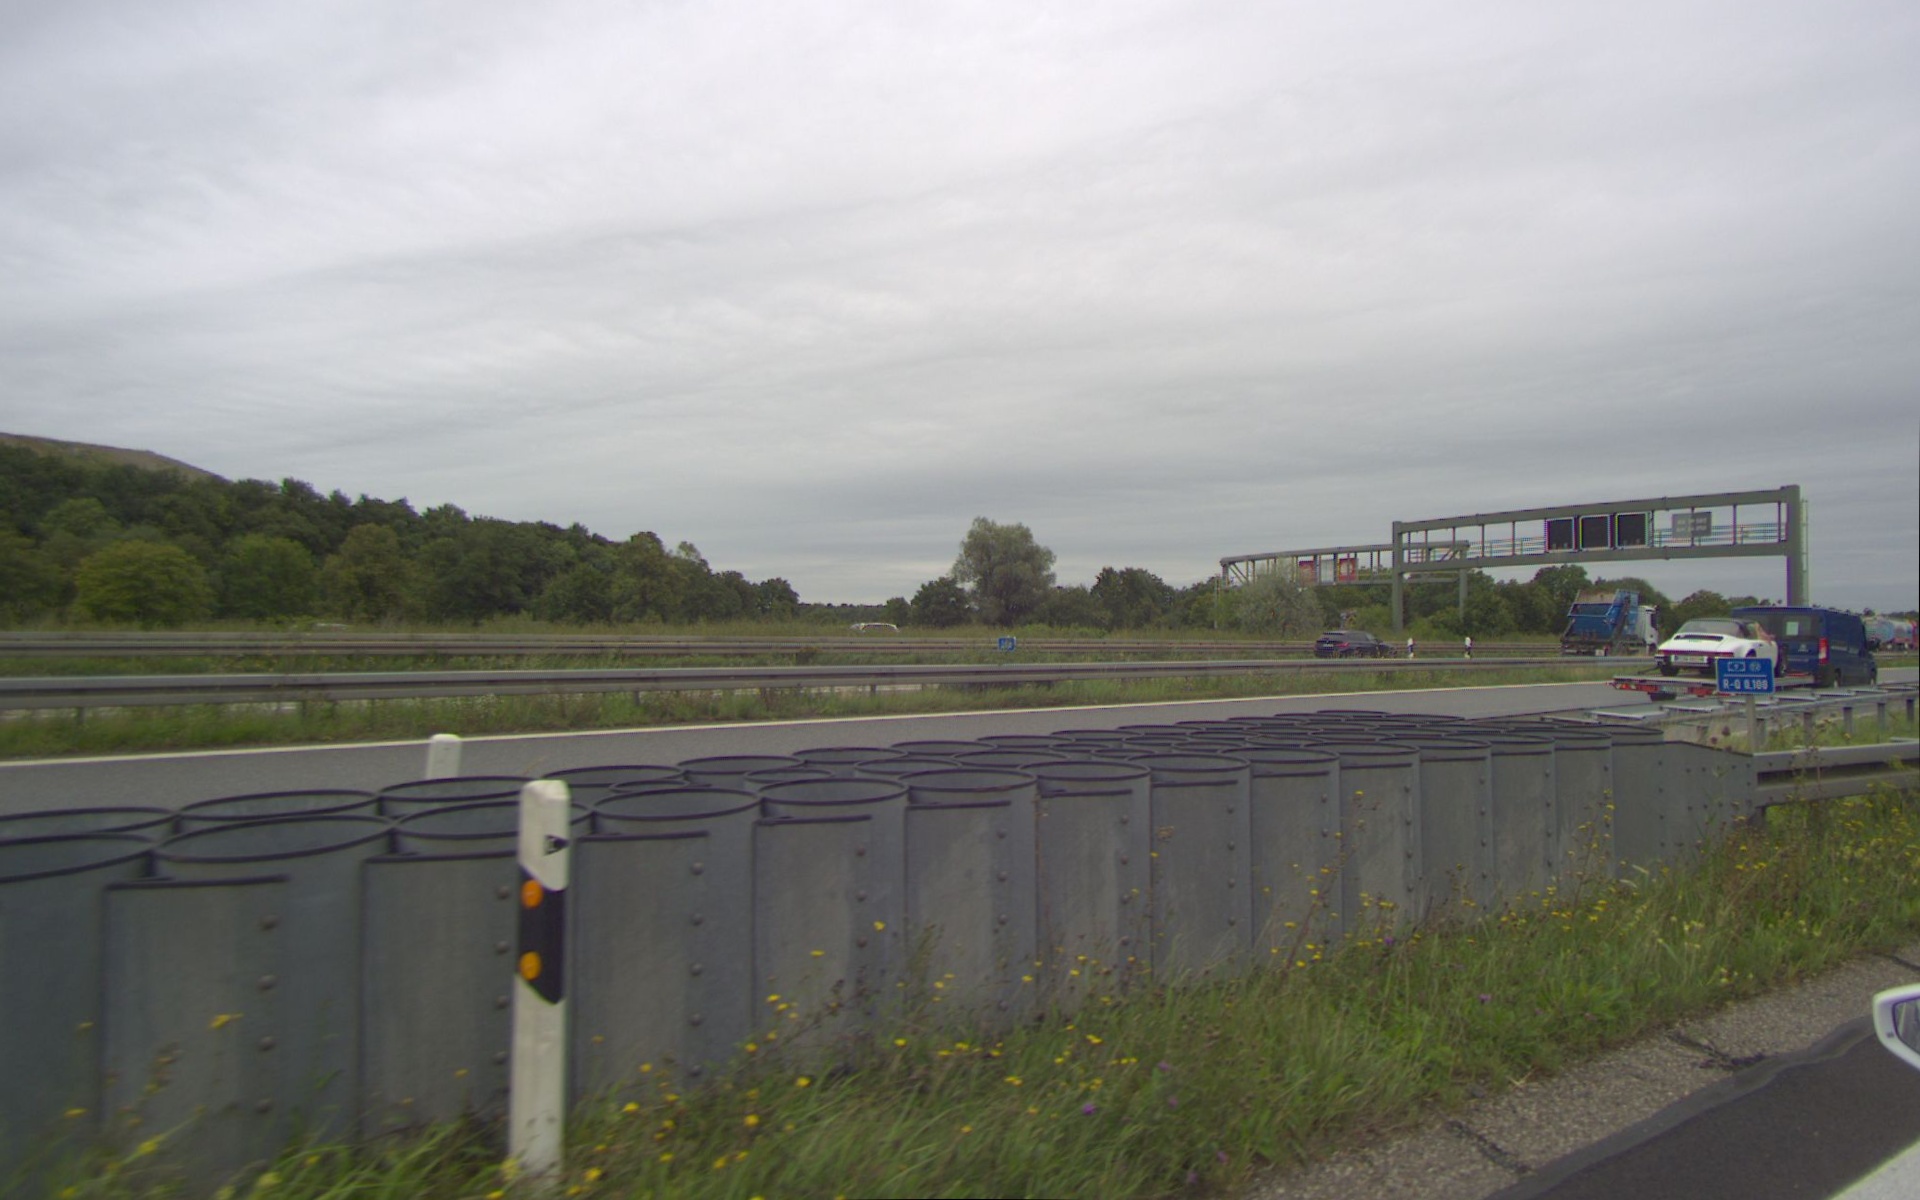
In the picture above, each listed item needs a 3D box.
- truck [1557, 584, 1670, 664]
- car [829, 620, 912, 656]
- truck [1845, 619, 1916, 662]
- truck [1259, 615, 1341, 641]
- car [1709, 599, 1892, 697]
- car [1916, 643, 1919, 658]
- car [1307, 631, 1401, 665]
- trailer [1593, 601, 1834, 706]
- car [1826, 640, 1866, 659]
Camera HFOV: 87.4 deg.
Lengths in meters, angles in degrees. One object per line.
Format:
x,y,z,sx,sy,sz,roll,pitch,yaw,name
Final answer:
33.920,1.287,51.998,7.278,3.863,2.618,3,-1,-38,truck
-4.700,1.993,52.851,3.959,1.751,1.840,3,-1,-34,car
77.088,3.420,84.058,8.550,3.409,2.836,2,-1,-37,truck
29.801,2.462,87.837,8.725,2.040,1.981,3,-1,-35,truck
22.305,1.236,26.558,6.199,2.296,2.355,2,-1,-37,car
105.980,5.538,109.546,3.962,1.595,1.872,3,-1,-36,car
17.919,2.200,45.616,4.733,1.410,1.790,3,-1,-38,car
17.058,1.152,22.561,6.998,2.021,2.467,2,-1,-37,trailer
78.942,4.413,89.488,3.962,1.595,1.797,3,-1,-36,car
